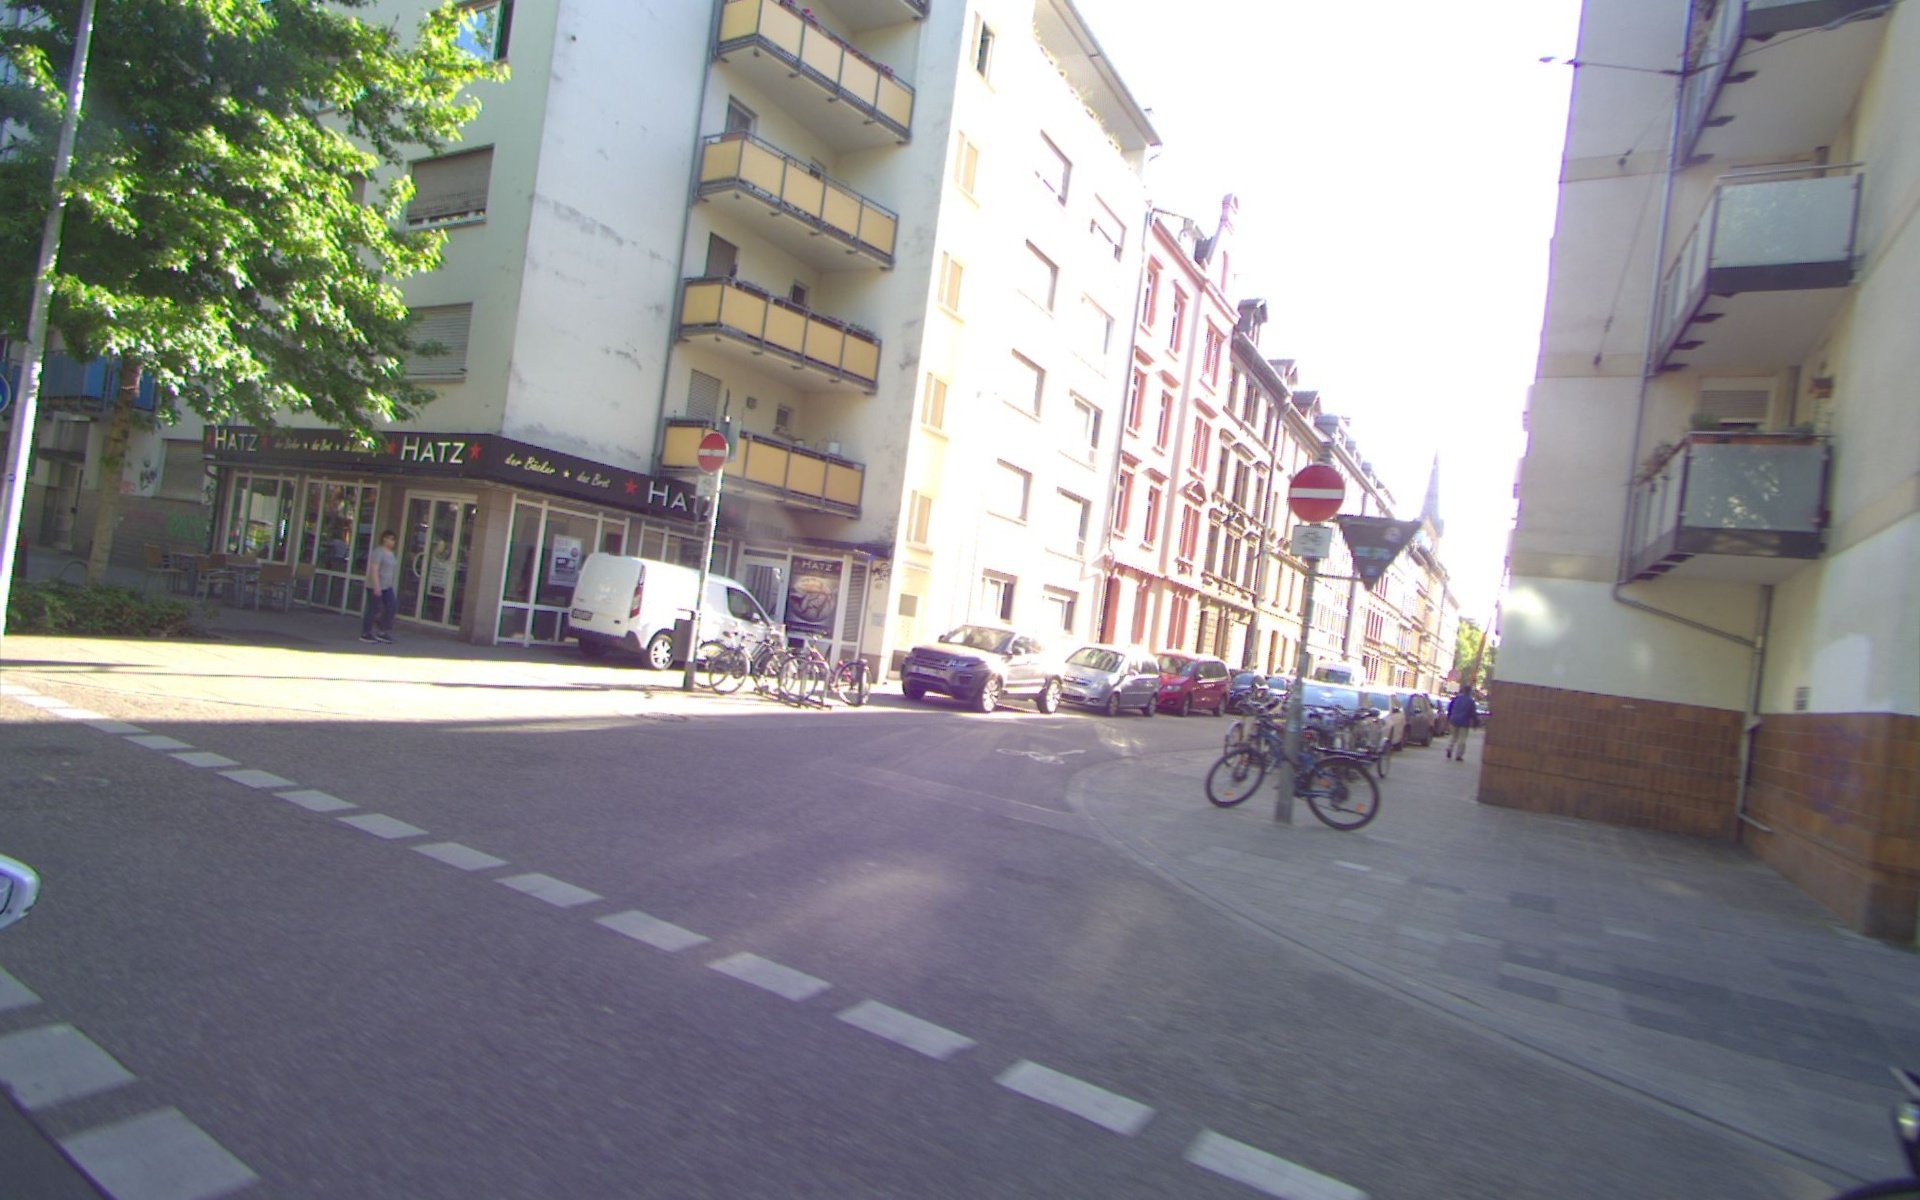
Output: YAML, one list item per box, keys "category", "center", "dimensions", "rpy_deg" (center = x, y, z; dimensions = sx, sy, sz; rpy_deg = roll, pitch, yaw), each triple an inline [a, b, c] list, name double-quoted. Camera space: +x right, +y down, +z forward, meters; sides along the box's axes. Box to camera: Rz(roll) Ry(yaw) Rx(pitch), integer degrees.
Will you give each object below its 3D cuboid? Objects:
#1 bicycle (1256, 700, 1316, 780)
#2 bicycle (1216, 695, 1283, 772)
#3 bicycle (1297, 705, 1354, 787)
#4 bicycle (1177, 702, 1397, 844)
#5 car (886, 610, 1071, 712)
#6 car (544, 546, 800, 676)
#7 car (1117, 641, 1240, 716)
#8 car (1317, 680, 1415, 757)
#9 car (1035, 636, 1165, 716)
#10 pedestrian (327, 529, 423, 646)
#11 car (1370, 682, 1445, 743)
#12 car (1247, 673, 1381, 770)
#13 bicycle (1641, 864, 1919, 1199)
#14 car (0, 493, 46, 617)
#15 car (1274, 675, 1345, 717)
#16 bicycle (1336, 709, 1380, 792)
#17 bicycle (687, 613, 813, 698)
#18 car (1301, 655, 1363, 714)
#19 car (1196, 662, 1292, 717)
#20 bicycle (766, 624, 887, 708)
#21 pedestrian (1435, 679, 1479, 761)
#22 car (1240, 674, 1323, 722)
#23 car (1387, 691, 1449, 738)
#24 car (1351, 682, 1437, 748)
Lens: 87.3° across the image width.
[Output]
- category: "bicycle"
  center: [4.914, 2.065, 15.099]
  dimensions: [0.480, 1.027, 1.967]
  rpy_deg: [7, -1, 26]
- category: "bicycle"
  center: [4.461, 2.009, 15.419]
  dimensions: [0.480, 1.027, 1.967]
  rpy_deg: [7, -1, 28]
- category: "bicycle"
  center: [5.390, 2.108, 14.790]
  dimensions: [0.480, 1.027, 1.967]
  rpy_deg: [7, -1, 26]
- category: "bicycle"
  center: [3.322, 1.704, 10.246]
  dimensions: [1.933, 1.028, 0.805]
  rpy_deg: [7, 0, 26]
- category: "car"
  center: [0.486, 1.272, 19.968]
  dimensions: [1.773, 1.625, 4.014]
  rpy_deg: [7, -2, 31]
- category: "car"
  center: [-5.182, 0.303, 18.788]
  dimensions: [1.965, 1.852, 4.371]
  rpy_deg: [7, -2, 27]
- category: "car"
  center: [6.338, 2.300, 28.860]
  dimensions: [1.687, 1.751, 4.435]
  rpy_deg: [7, -2, 35]
- category: "car"
  center: [9.874, 2.813, 24.282]
  dimensions: [1.568, 1.477, 3.927]
  rpy_deg: [7, -1, 29]
- category: "car"
  center: [3.489, 1.899, 24.471]
  dimensions: [1.703, 1.589, 3.652]
  rpy_deg: [7, -2, 31]
- category: "pedestrian"
  center: [-8.930, -0.184, 15.385]
  dimensions: [0.843, 1.635, 0.770]
  rpy_deg: [8, -1, -6]
- category: "car"
  center: [14.391, 3.576, 32.231]
  dimensions: [1.703, 1.582, 3.927]
  rpy_deg: [7, -1, 29]
- category: "car"
  center: [6.879, 2.293, 19.310]
  dimensions: [1.703, 1.431, 3.626]
  rpy_deg: [7, -1, 29]
- category: "bicycle"
  center: [2.460, 1.282, 1.798]
  dimensions: [1.957, 1.104, 0.703]
  rpy_deg: [6, -3, 31]
- category: "car"
  center: [-14.550, -0.861, 13.694]
  dimensions: [4.013, 1.592, 1.723]
  rpy_deg: [7, -1, 27]
- category: "car"
  center: [14.990, 4.132, 43.012]
  dimensions: [1.687, 1.478, 4.436]
  rpy_deg: [7, -2, 34]
- category: "bicycle"
  center: [5.793, 2.144, 14.581]
  dimensions: [0.360, 1.027, 1.968]
  rpy_deg: [7, -1, 25]
- category: "bicycle"
  center: [-3.226, 0.884, 15.636]
  dimensions: [0.692, 1.130, 1.838]
  rpy_deg: [7, -1, 34]
- category: "car"
  center: [18.961, 4.330, 51.190]
  dimensions: [1.967, 2.535, 3.998]
  rpy_deg: [7, -4, 32]
- category: "car"
  center: [9.635, 3.062, 33.940]
  dimensions: [1.687, 1.478, 4.436]
  rpy_deg: [7, -2, 34]
- category: "bicycle"
  center: [-2.072, 1.060, 15.796]
  dimensions: [0.605, 1.130, 1.769]
  rpy_deg: [7, -1, 44]
- category: "pedestrian"
  center: [11.742, 2.818, 23.761]
  dimensions: [0.697, 1.809, 0.807]
  rpy_deg: [7, 0, 29]
- category: "car"
  center: [12.242, 3.752, 38.134]
  dimensions: [1.687, 1.478, 4.436]
  rpy_deg: [7, -2, 34]
- category: "car"
  center: [17.766, 4.413, 38.932]
  dimensions: [1.703, 1.461, 3.927]
  rpy_deg: [7, -2, 29]
- category: "car"
  center: [12.369, 3.234, 28.530]
  dimensions: [1.703, 1.477, 3.927]
  rpy_deg: [7, -2, 29]
